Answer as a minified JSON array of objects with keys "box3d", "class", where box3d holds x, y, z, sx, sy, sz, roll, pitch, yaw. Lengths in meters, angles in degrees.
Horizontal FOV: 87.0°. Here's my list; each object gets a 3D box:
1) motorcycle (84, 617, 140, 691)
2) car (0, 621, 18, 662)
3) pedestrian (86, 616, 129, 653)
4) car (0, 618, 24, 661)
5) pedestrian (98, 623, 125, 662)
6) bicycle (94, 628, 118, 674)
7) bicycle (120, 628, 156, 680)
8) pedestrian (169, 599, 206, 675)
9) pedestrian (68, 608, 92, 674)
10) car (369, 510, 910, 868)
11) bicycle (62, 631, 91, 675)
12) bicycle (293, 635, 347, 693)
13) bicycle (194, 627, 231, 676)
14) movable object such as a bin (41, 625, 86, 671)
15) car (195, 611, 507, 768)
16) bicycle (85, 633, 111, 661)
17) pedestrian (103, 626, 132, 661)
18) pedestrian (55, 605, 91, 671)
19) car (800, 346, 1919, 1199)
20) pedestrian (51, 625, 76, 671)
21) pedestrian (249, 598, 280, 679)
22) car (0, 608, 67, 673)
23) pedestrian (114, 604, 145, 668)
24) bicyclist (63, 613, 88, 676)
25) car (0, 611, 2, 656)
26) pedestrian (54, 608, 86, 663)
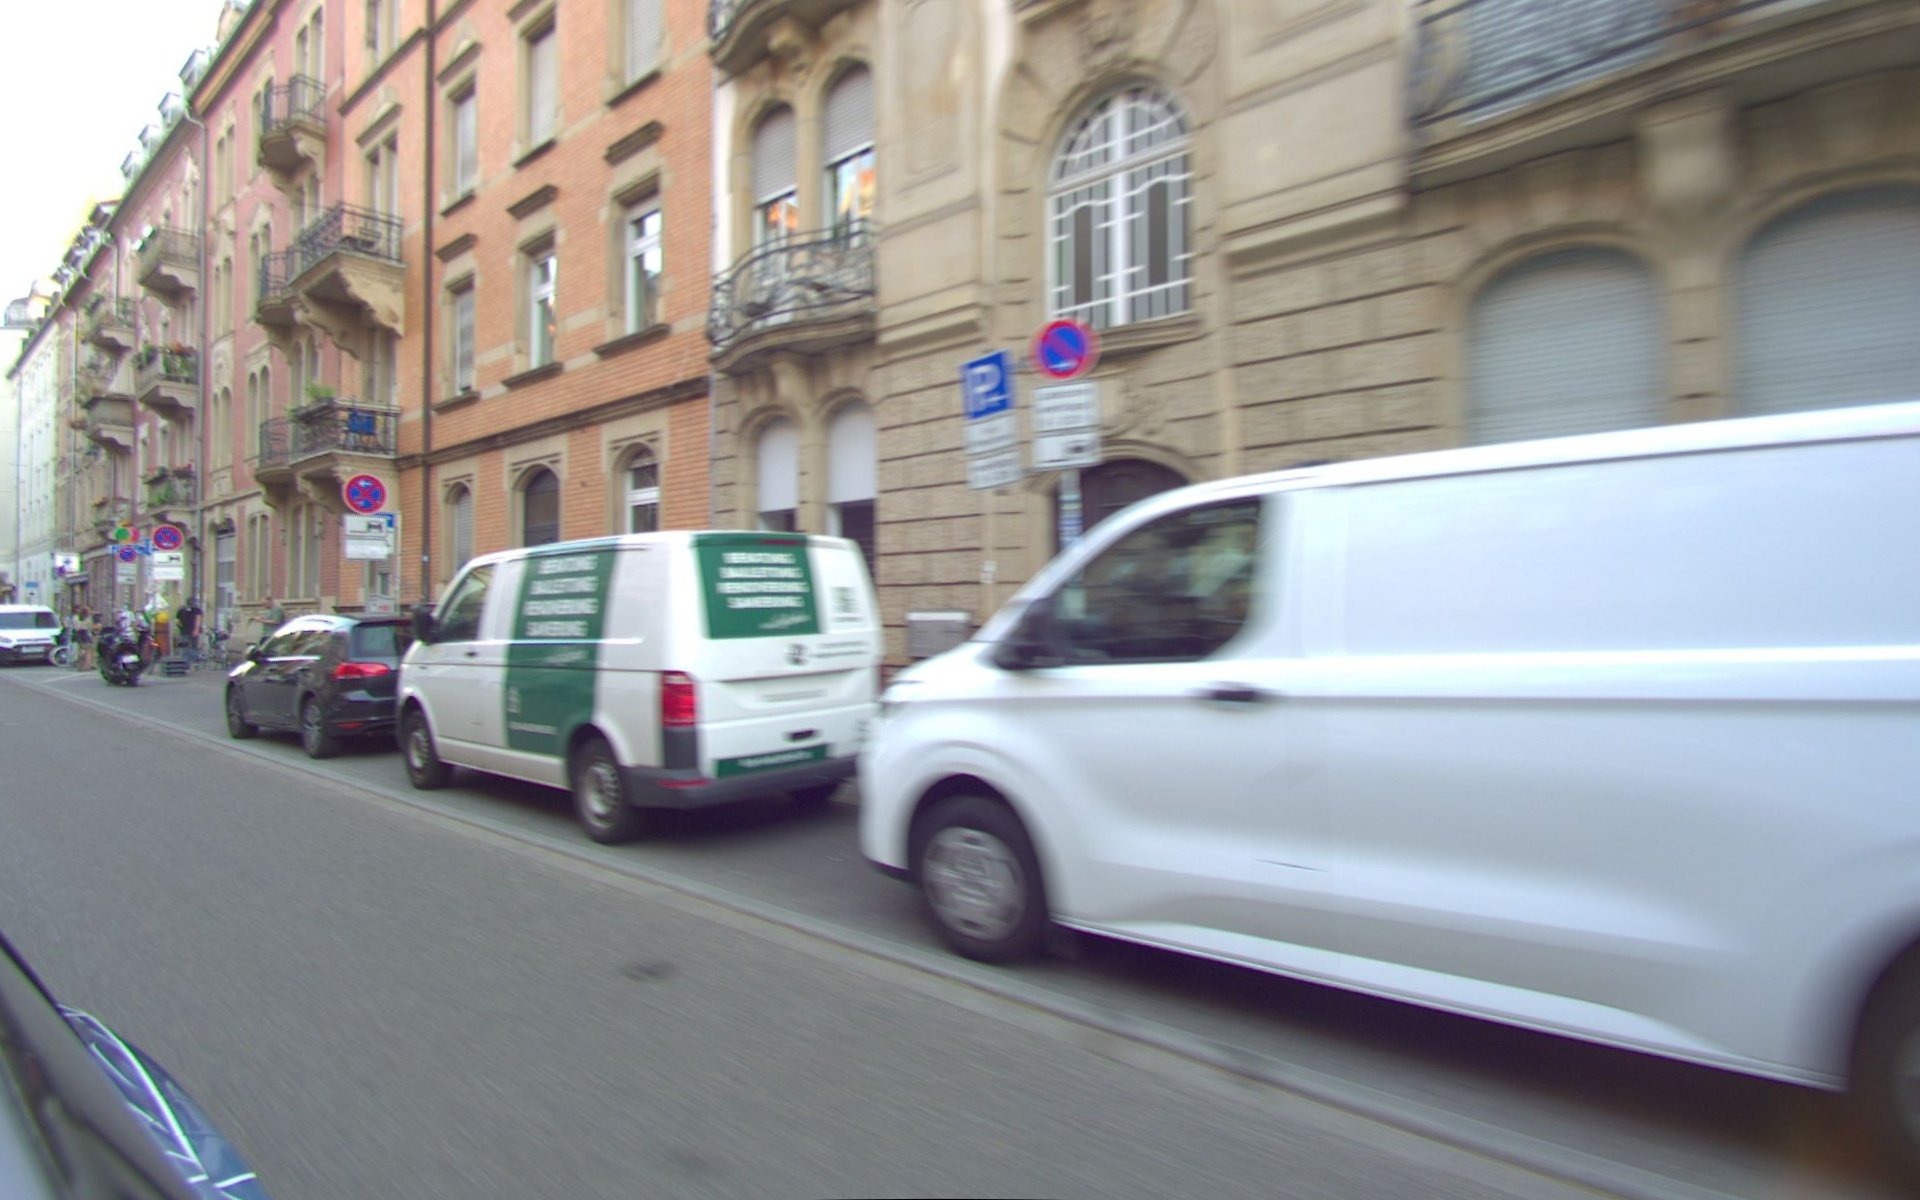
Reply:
[{"box3d":[-17.293,1.066,20.629,2.015,1.415,0.677,0,0,44],"class":"motorcycle"},{"box3d":[-39.054,1.651,40.365,3.970,1.608,1.906,-1,-1,43],"class":"car"},{"box3d":[-28.945,1.167,34.376,0.503,1.212,1.028,-1,0,39],"class":"pedestrian"},{"box3d":[-35.768,1.449,37.260,3.793,1.541,1.686,-1,-1,43],"class":"car"},{"box3d":[-28.496,1.408,33.982,0.585,1.261,0.612,-1,0,40],"class":"pedestrian"},{"box3d":[-23.090,1.356,27.357,0.460,1.164,2.003,-1,0,-41],"class":"bicycle"},{"box3d":[-19.916,1.285,24.507,1.838,1.168,0.407,0,0,43],"class":"bicycle"},{"box3d":[-18.970,0.882,24.850,0.673,1.824,0.963,-1,0,-40],"class":"pedestrian"},{"box3d":[-23.428,1.085,26.950,0.350,1.722,0.414,-1,0,36],"class":"pedestrian"},{"box3d":[-2.725,0.519,7.794,4.845,1.936,1.817,-1,-1,43],"class":"car"},{"box3d":[-23.012,1.353,26.351,0.460,1.076,1.521,-1,0,-45],"class":"bicycle"},{"box3d":[-12.381,1.214,19.562,1.740,1.038,0.443,0,0,43],"class":"bicycle"},{"box3d":[-18.721,1.270,25.320,1.838,1.168,0.407,0,0,43],"class":"bicycle"},{"box3d":[-25.735,1.369,29.063,0.776,1.260,0.878,-1,0,42],"class":"movable object such as a bin"},{"box3d":[-7.079,0.885,11.608,4.169,1.482,1.818,-1,-1,40],"class":"car"},{"box3d":[-31.305,1.707,36.740,1.992,0.952,0.353,0,0,39],"class":"bicycle"},{"box3d":[-27.844,1.430,33.446,0.572,1.148,0.625,-1,0,40],"class":"pedestrian"},{"box3d":[-25.153,1.056,28.709,0.718,1.827,0.593,-1,0,33],"class":"pedestrian"},{"box3d":[1.845,0.439,3.786,5.022,1.936,2.088,-1,-1,40],"class":"car"},{"box3d":[-25.780,1.369,29.101,0.652,1.260,0.473,-1,0,42],"class":"pedestrian"},{"box3d":[-15.777,0.861,22.952,0.458,1.803,0.642,-1,0,-45],"class":"pedestrian"},{"box3d":[-28.352,1.153,30.335,4.584,1.802,1.752,0,0,40],"class":"car"},{"box3d":[-24.258,1.044,29.574,0.589,1.827,0.723,-1,0,-30],"class":"pedestrian"},{"box3d":[-23.149,1.156,26.488,0.487,1.602,0.460,-1,0,45],"class":"bicyclist"},{"box3d":[-43.095,1.447,43.812,4.902,1.897,1.907,-1,-1,41],"class":"car"},{"box3d":[-28.812,1.126,32.767,0.610,1.743,0.587,-1,0,-20],"class":"pedestrian"}]
